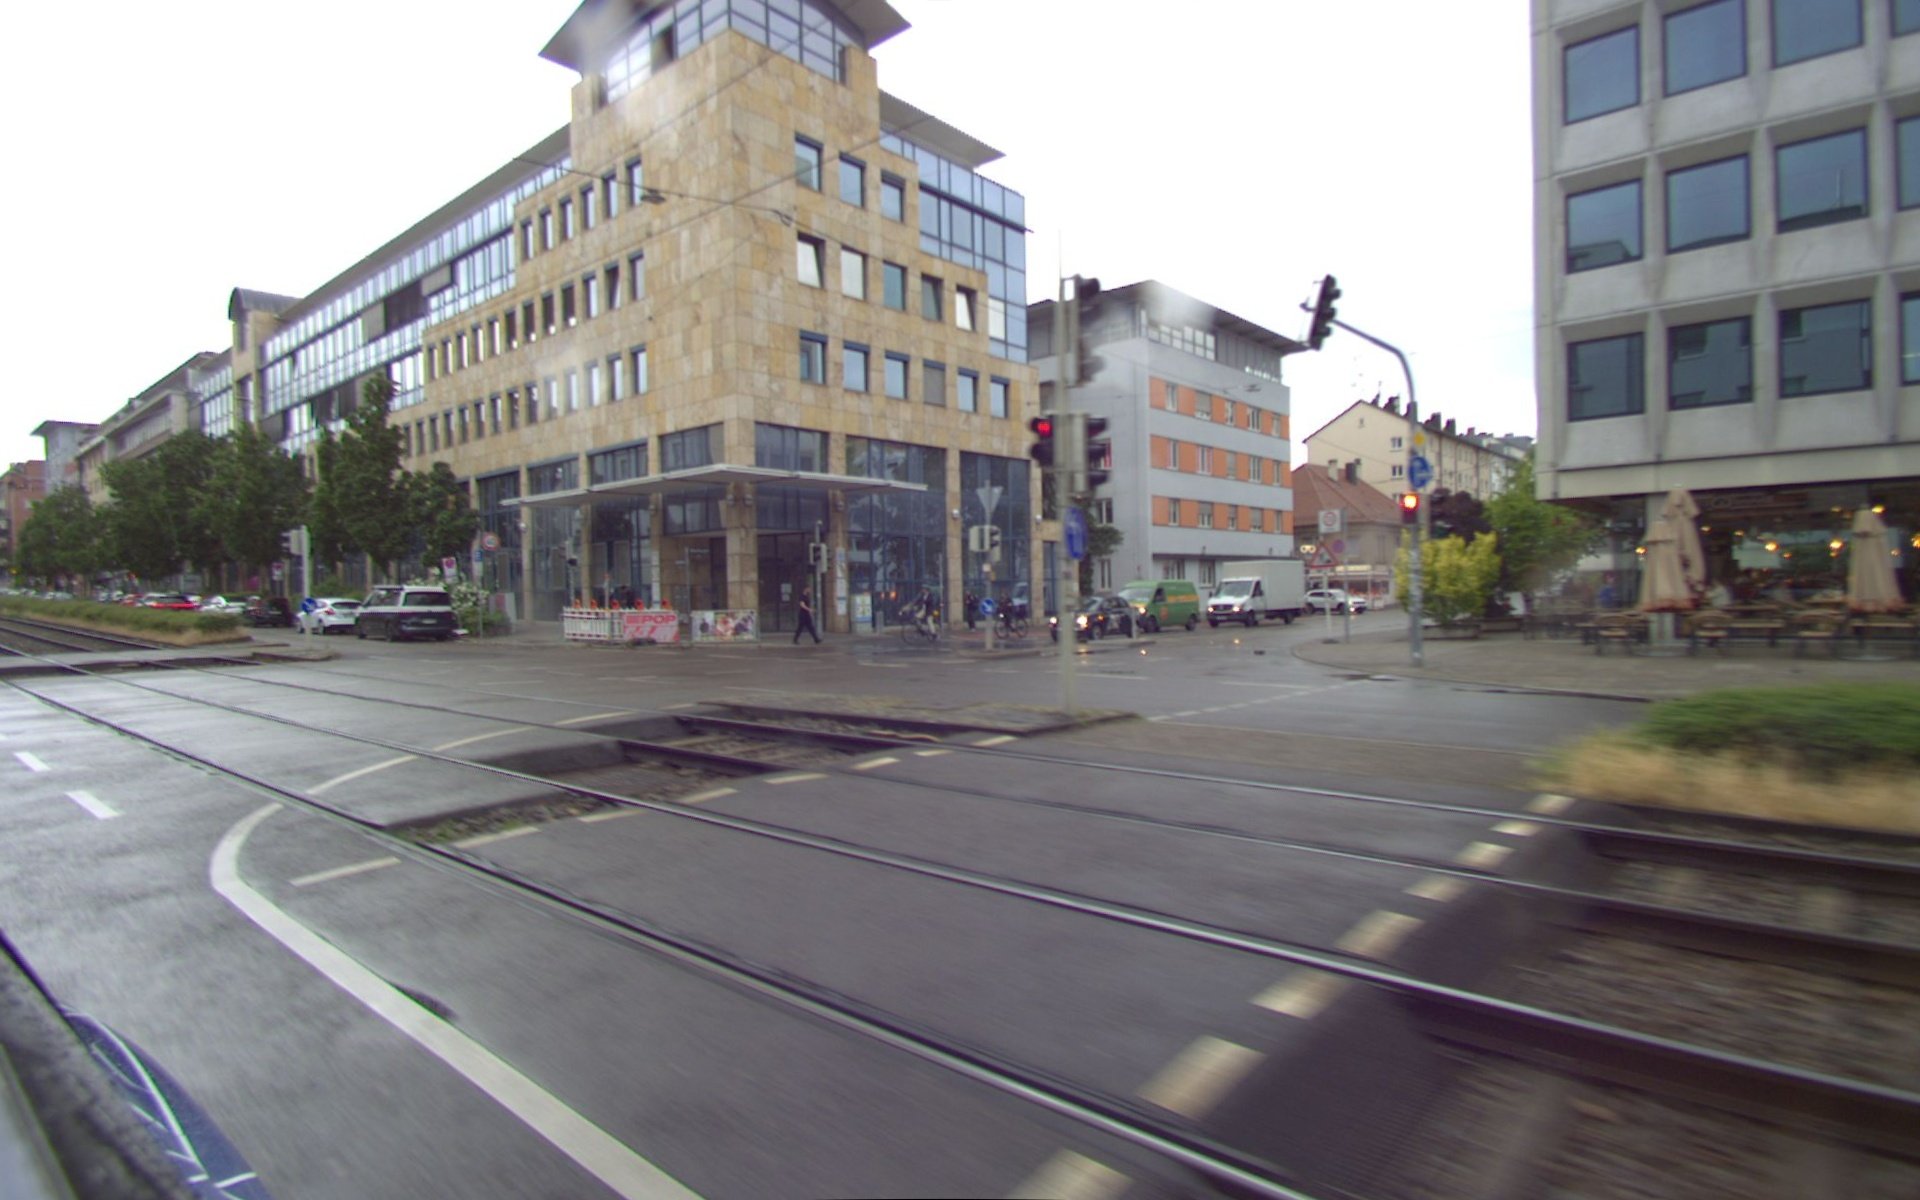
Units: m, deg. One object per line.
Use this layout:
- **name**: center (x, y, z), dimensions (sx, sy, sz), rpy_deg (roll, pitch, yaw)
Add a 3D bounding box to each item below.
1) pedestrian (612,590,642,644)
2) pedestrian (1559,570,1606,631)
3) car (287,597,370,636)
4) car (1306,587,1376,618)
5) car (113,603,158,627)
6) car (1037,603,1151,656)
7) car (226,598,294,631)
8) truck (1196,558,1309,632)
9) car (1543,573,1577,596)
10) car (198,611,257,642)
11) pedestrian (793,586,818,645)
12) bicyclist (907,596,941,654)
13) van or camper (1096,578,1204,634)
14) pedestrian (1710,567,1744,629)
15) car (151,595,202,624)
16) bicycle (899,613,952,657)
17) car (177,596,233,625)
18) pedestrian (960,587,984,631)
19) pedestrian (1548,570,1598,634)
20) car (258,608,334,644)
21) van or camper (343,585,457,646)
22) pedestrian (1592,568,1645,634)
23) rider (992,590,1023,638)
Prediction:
- **pedestrian**: center (-11.535, 0.594, 35.030), dimensions (0.679, 1.828, 0.693), rpy_deg (-1, 0, 44)
- **pedestrian**: center (16.132, 0.017, 26.223), dimensions (0.896, 1.544, 0.952), rpy_deg (-1, 0, 40)
- **car**: center (-26.113, 0.683, 41.820), dimensions (4.252, 1.497, 1.672), rpy_deg (-1, 0, 40)
- **car**: center (25.367, 0.165, 67.563), dimensions (1.966, 1.940, 4.012), rpy_deg (-2, 1, -30)
- **car**: center (-54.967, 0.952, 67.459), dimensions (4.620, 1.552, 1.632), rpy_deg (0, 0, 42)
- **car**: center (4.394, 0.916, 32.809), dimensions (1.889, 1.541, 3.949), rpy_deg (-1, 0, 38)
- **car**: center (-33.735, 0.703, 48.757), dimensions (3.997, 1.497, 1.672), rpy_deg (-1, 0, 40)
- **truck**: center (13.844, -0.278, 47.507), dimensions (2.459, 3.187, 7.078), rpy_deg (-1, 0, 40)
- **car**: center (48.703, -1.241, 82.123), dimensions (1.780, 1.747, 4.110), rpy_deg (-1, 1, 40)
- **car**: center (-37.596, 1.317, 51.895), dimensions (4.191, 1.509, 1.632), rpy_deg (0, 0, 42)
- **pedestrian**: center (-4.748, 0.471, 31.094), dimensions (0.667, 1.794, 0.705), rpy_deg (-2, 0, -14)
- **bicyclist**: center (-1.151, 0.799, 32.420), dimensions (0.783, 1.818, 0.701), rpy_deg (-1, 0, 41)
- **van or camper**: center (7.776, 0.212, 41.059), dimensions (2.095, 2.077, 5.031), rpy_deg (-1, 0, 40)
- **pedestrian**: center (16.797, -0.040, 22.158), dimensions (0.553, 1.332, 0.517), rpy_deg (-1, 1, 42)
- **car**: center (-46.101, 0.550, 59.501), dimensions (4.291, 1.613, 1.632), rpy_deg (0, 0, 42)
- **bicycle**: center (-1.086, 1.101, 32.462), dimensions (0.659, 1.320, 1.746), rpy_deg (-1, 0, 40)
- **car**: center (-41.484, 0.562, 55.561), dimensions (4.291, 1.509, 1.632), rpy_deg (0, 0, 42)
- **pedestrian**: center (0.462, 0.349, 39.222), dimensions (0.703, 1.648, 0.573), rpy_deg (-1, 0, 42)
- **pedestrian**: center (15.188, 0.037, 25.064), dimensions (0.896, 1.544, 0.952), rpy_deg (-1, 0, 41)
- **car**: center (-30.117, 1.158, 45.870), dimensions (4.291, 1.497, 1.672), rpy_deg (-1, 0, 39)
- **van or camper**: center (-20.396, 0.491, 36.763), dimensions (5.196, 2.012, 1.996), rpy_deg (1, 2, 42)
- **pedestrian**: center (15.870, 0.021, 24.384), dimensions (0.964, 1.544, 0.885), rpy_deg (-1, 0, 40)
- **rider**: center (1.694, 0.491, 36.131), dimensions (0.783, 1.688, 0.701), rpy_deg (-1, 0, 41)
